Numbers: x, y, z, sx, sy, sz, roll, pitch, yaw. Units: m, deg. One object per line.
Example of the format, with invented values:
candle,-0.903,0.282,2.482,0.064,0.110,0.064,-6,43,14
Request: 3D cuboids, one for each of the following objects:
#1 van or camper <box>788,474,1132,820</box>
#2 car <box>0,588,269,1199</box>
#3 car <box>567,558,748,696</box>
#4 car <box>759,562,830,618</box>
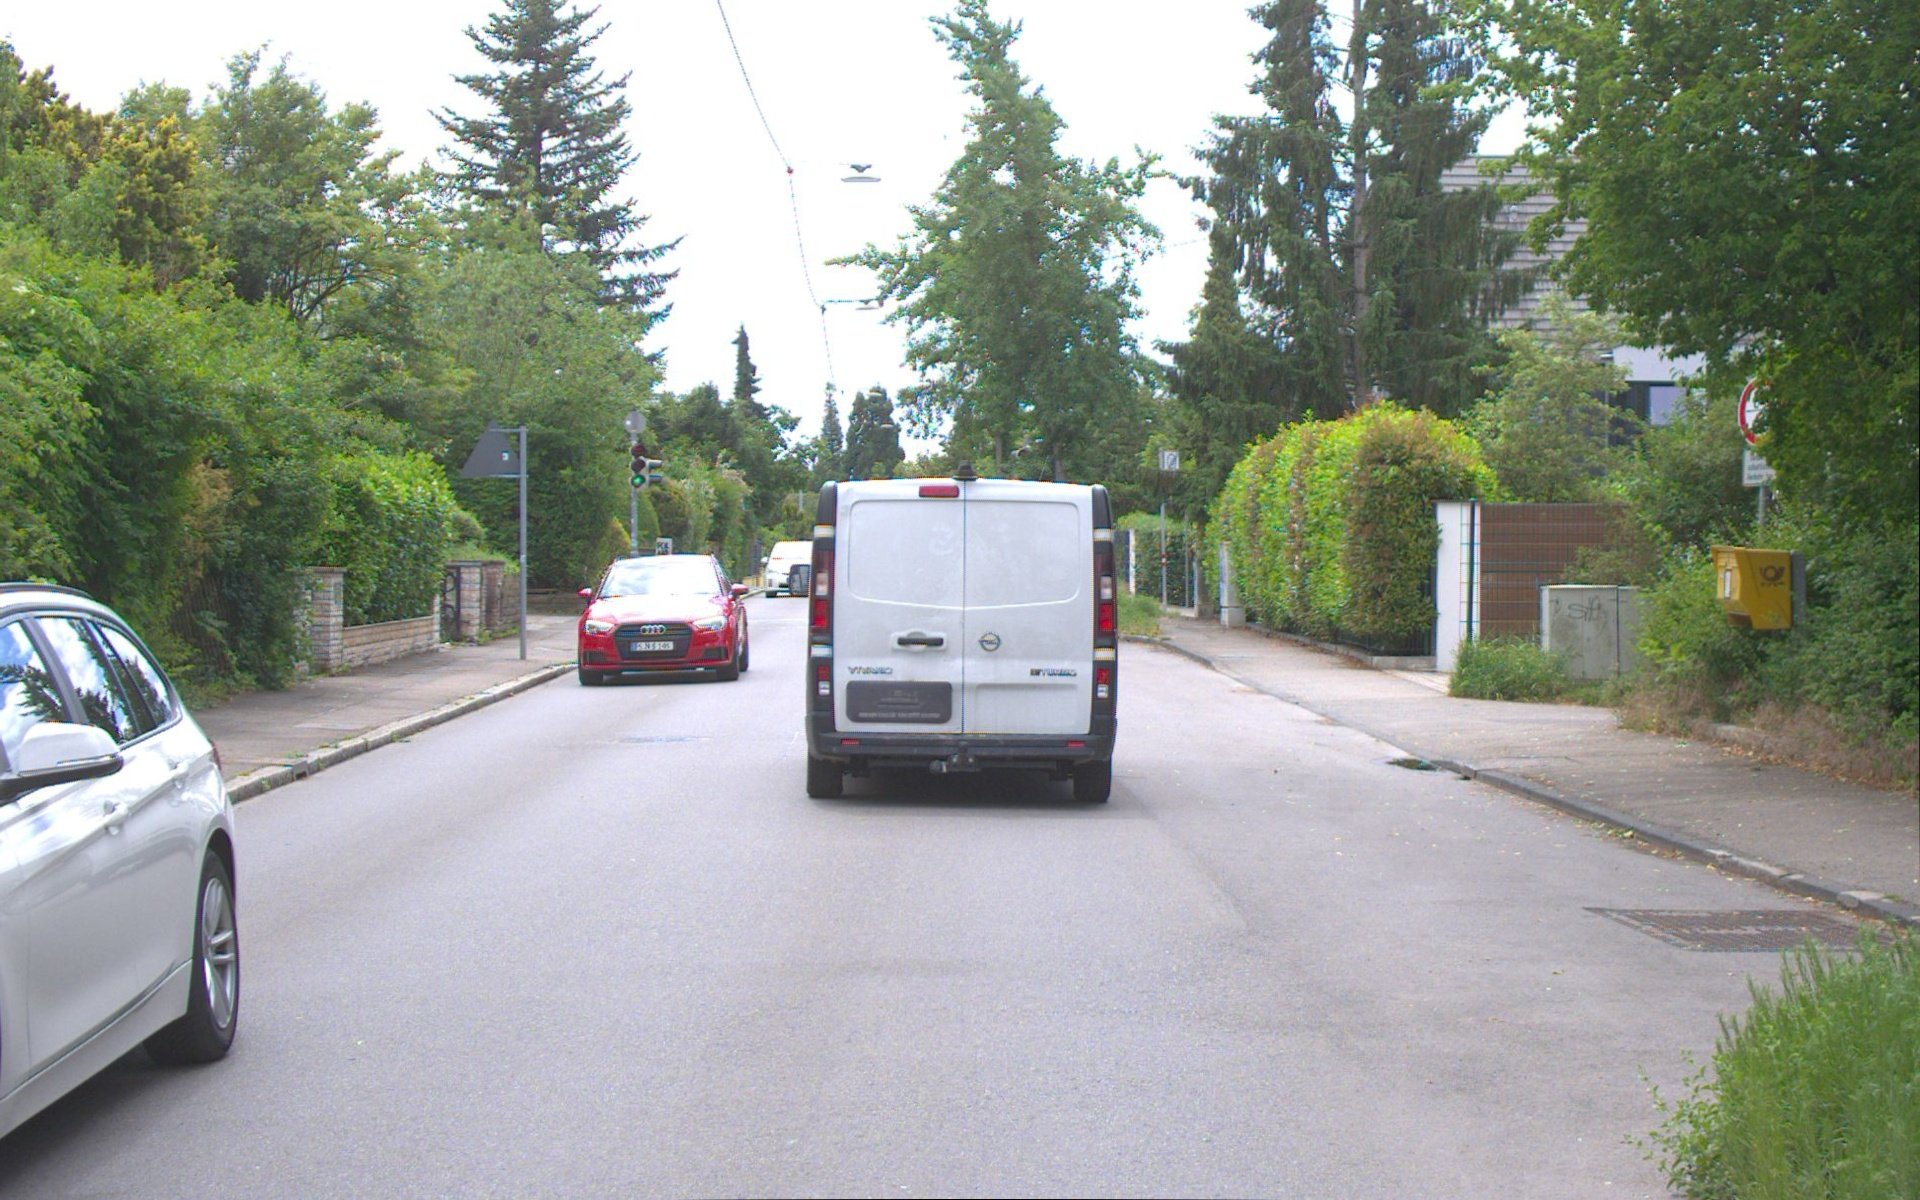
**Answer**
van or camper,-0.063,0.292,22.139,1.939,1.947,4.765,1,-1,-2
car,-3.035,0.736,8.648,1.805,1.426,4.301,-3,1,-2
car,-3.443,0.277,39.775,1.805,1.426,4.119,-3,1,-2
car,-4.496,-0.289,93.865,1.854,1.446,4.282,-2,1,-2
